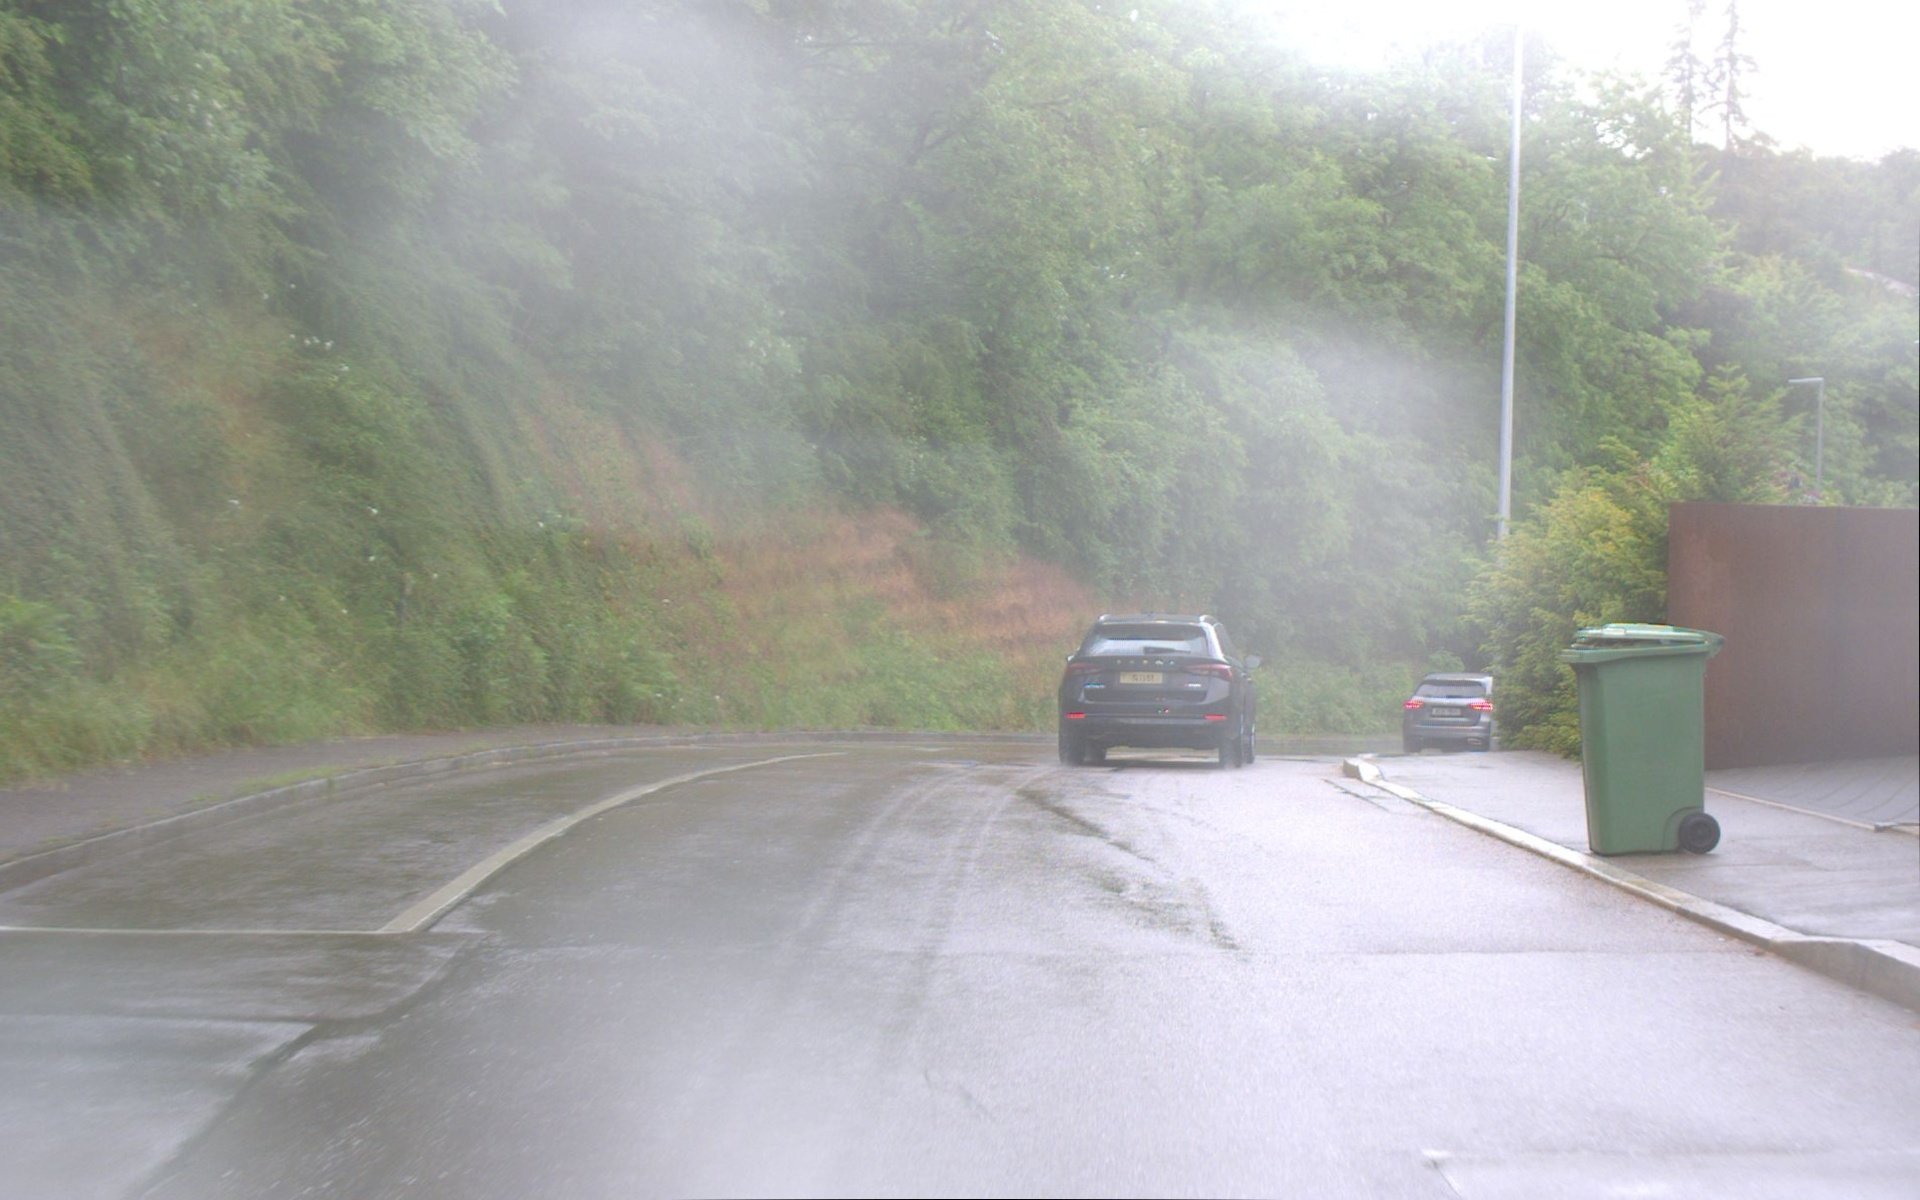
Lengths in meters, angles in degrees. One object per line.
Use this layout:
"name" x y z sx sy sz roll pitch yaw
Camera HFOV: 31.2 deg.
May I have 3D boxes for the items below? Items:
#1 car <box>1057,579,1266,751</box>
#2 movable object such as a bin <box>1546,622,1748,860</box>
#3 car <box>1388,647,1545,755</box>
"car" 2.032 0.655 33.803 1.869 1.507 4.091 2 -1 5
"movable object such as a bin" 3.335 0.677 16.741 0.789 1.092 0.675 -3 0 0
"car" 9.276 1.804 62.696 1.995 1.599 4.405 2 3 19
